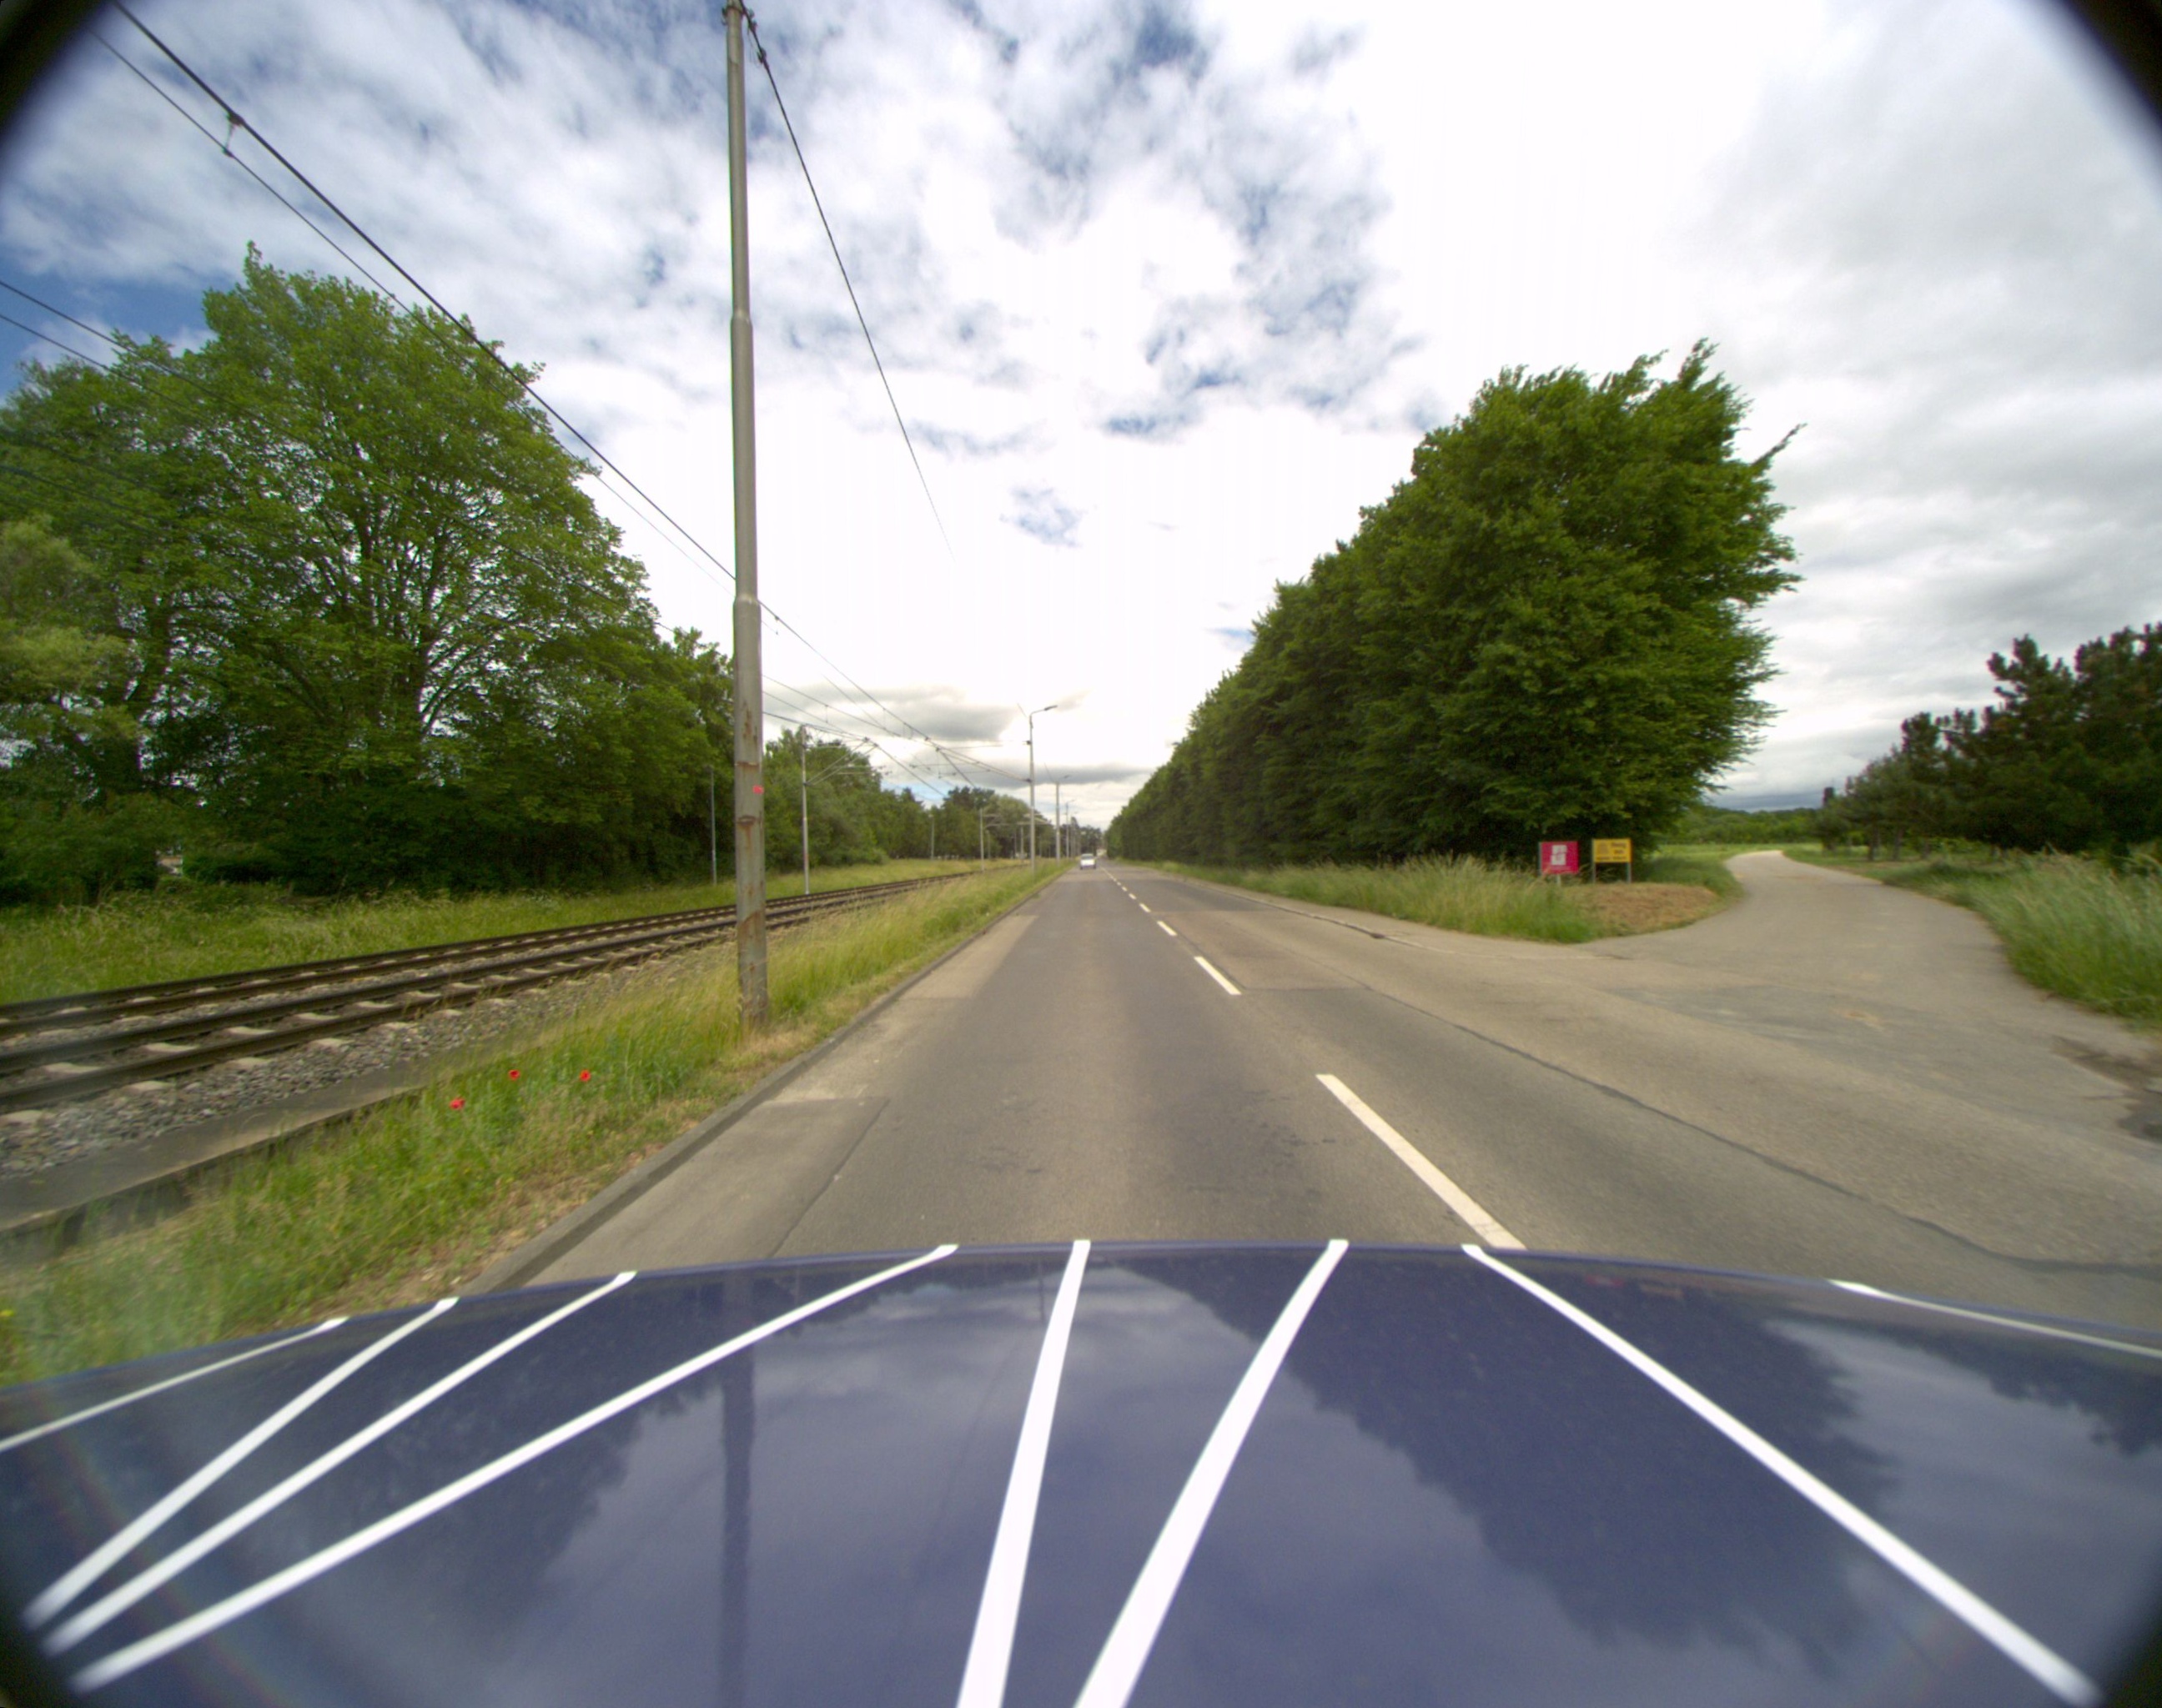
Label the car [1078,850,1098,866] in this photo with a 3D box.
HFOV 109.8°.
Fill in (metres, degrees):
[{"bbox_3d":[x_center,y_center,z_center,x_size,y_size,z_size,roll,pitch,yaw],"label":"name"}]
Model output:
[{"bbox_3d":[0.706,0.390,81.931,1.999,1.679,3.999,-1,0,0],"label":"car"}]
